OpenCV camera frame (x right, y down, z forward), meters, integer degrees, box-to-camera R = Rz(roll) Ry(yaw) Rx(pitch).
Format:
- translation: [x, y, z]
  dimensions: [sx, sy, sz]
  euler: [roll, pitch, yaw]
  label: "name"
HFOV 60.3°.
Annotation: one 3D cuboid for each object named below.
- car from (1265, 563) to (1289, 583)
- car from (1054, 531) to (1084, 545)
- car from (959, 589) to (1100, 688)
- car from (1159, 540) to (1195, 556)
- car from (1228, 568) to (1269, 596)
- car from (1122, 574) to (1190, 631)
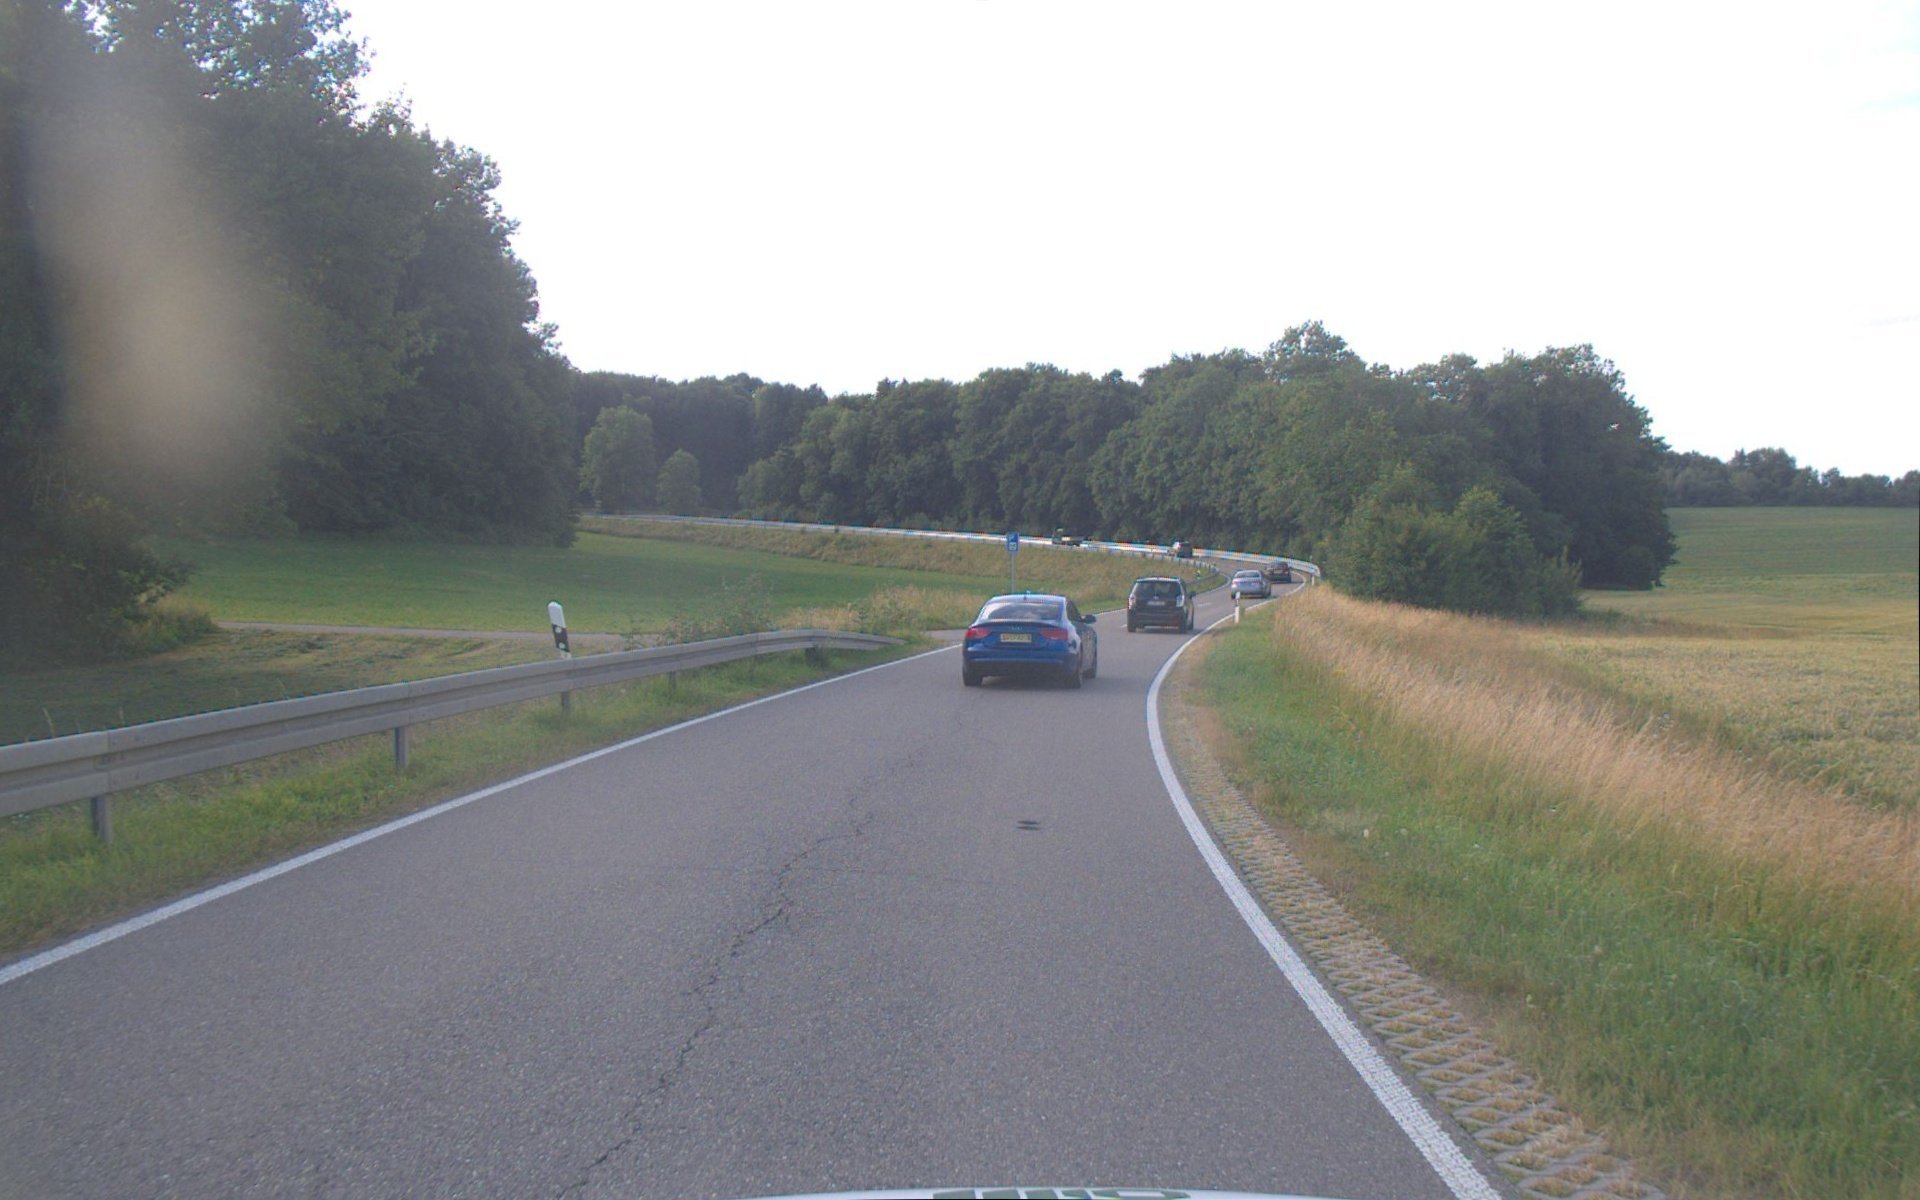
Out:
- translation: [21.601, -1.868, 112.658]
  dimensions: [1.440, 1.248, 3.303]
  euler: [-2, 1, 13]
  label: "car"
- translation: [13.835, -7.881, 209.943]
  dimensions: [1.972, 1.802, 3.963]
  euler: [0, 2, -29]
  label: "car"
- translation: [1.181, 0.545, 26.133]
  dimensions: [1.780, 1.362, 4.354]
  euler: [1, 1, 8]
  label: "car"
- translation: [23.503, -5.654, 179.290]
  dimensions: [1.967, 1.708, 4.148]
  euler: [0, 2, -24]
  label: "car"
- translation: [14.989, -0.915, 85.872]
  dimensions: [1.646, 1.400, 4.002]
  euler: [-1, 0, 16]
  label: "car"
- translation: [5.916, 0.072, 49.632]
  dimensions: [1.822, 1.596, 4.003]
  euler: [-1, 0, 9]
  label: "car"
